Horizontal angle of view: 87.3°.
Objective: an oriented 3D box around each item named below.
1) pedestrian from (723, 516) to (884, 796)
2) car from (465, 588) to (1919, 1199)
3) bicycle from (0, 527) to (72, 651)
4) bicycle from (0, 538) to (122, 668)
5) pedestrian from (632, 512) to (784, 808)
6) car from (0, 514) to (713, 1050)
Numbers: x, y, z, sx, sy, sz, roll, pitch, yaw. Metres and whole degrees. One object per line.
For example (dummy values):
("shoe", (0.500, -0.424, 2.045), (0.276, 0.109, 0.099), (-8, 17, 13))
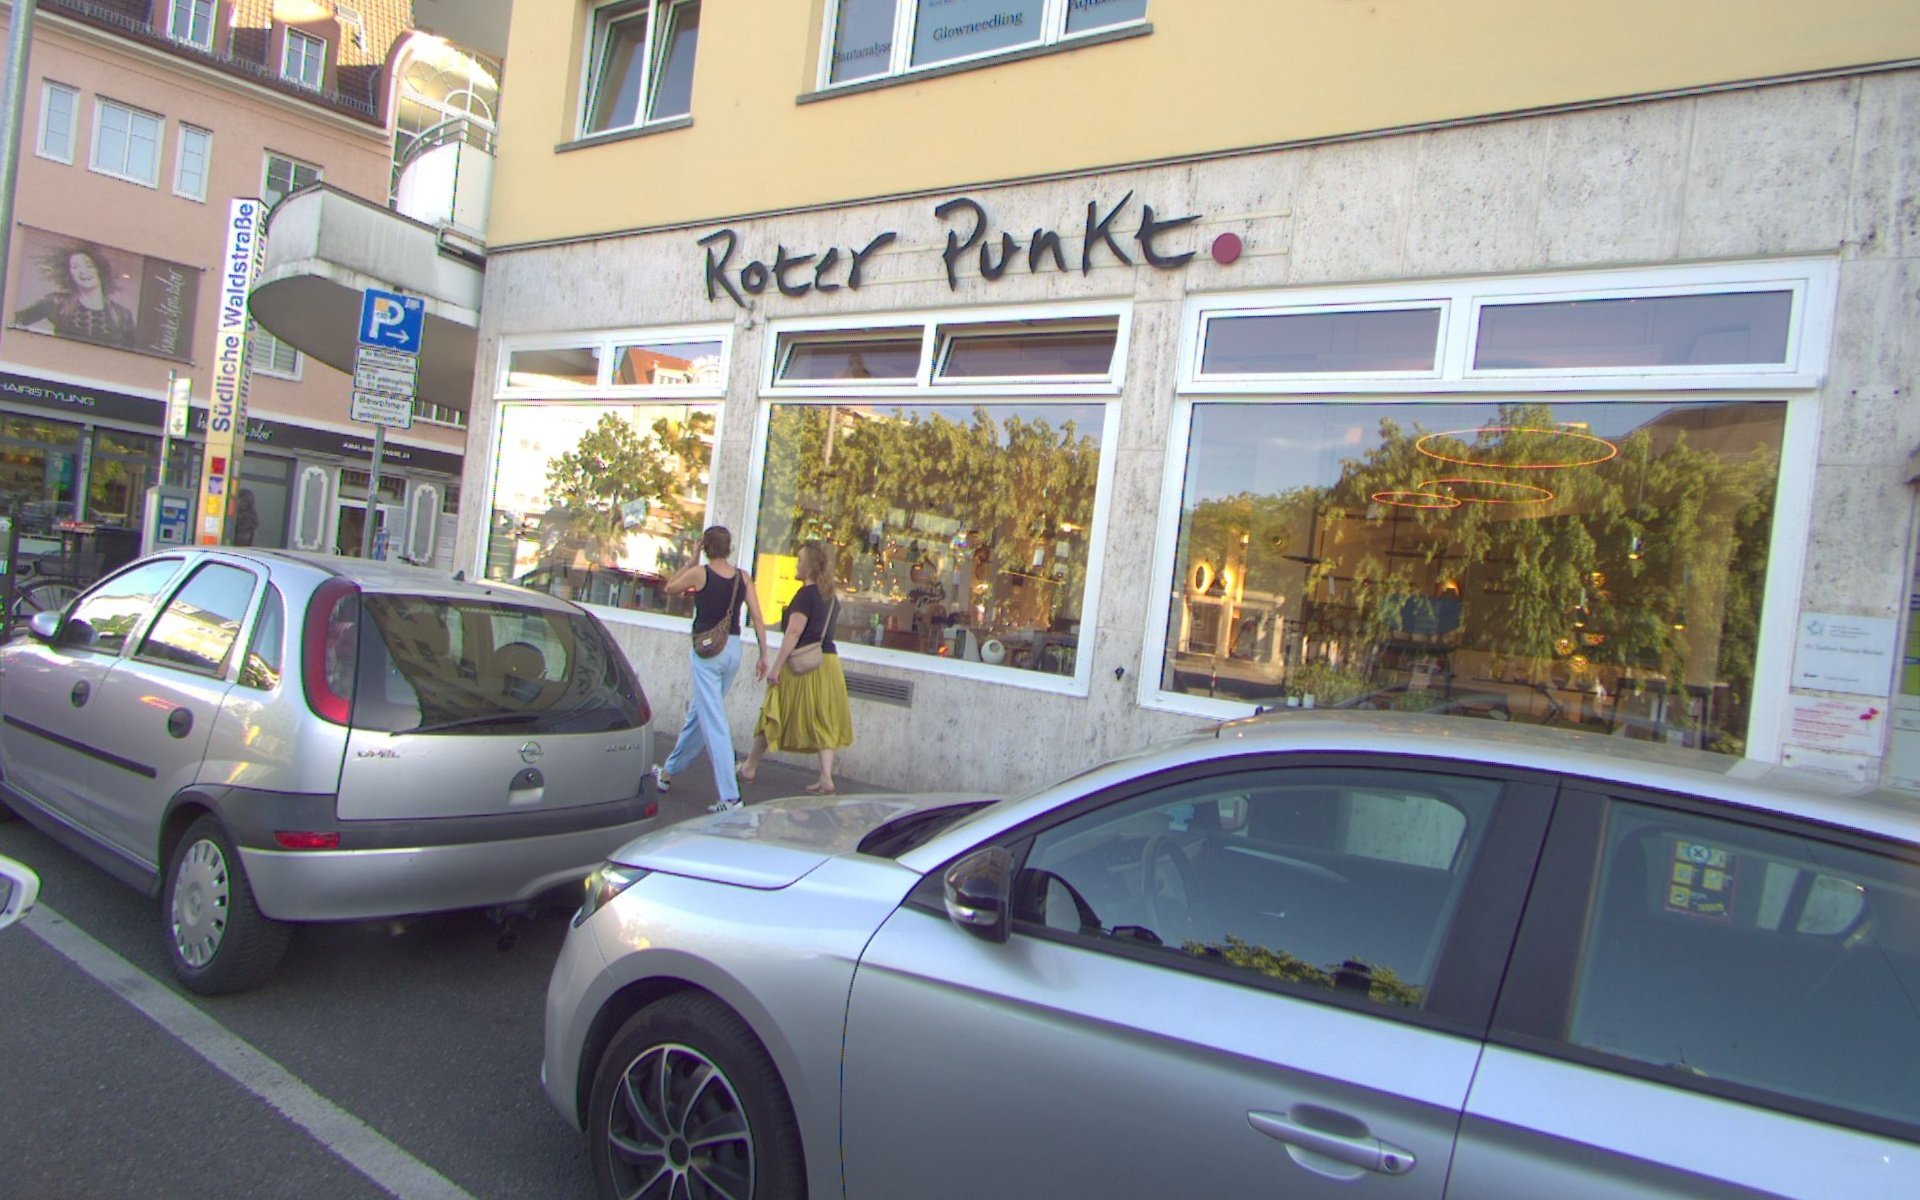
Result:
("pedestrian", (-1.076, 0.383, 7.005), (0.558, 1.805, 0.742), (7, 0, 32))
("car", (0.771, 0.926, 2.273), (3.598, 1.444, 1.550), (6, -2, 30))
("bicycle", (-9.077, -0.143, 8.797), (0.408, 1.101, 1.872), (6, 1, 35))
("bicycle", (-8.096, 0.005, 8.192), (0.348, 1.051, 1.871), (6, 1, 38))
("pedestrian", (-1.546, 0.363, 6.287), (0.647, 1.685, 0.647), (7, 0, -7))
("car", (-2.940, 0.496, 4.438), (3.420, 1.407, 1.548), (6, -1, 33))
